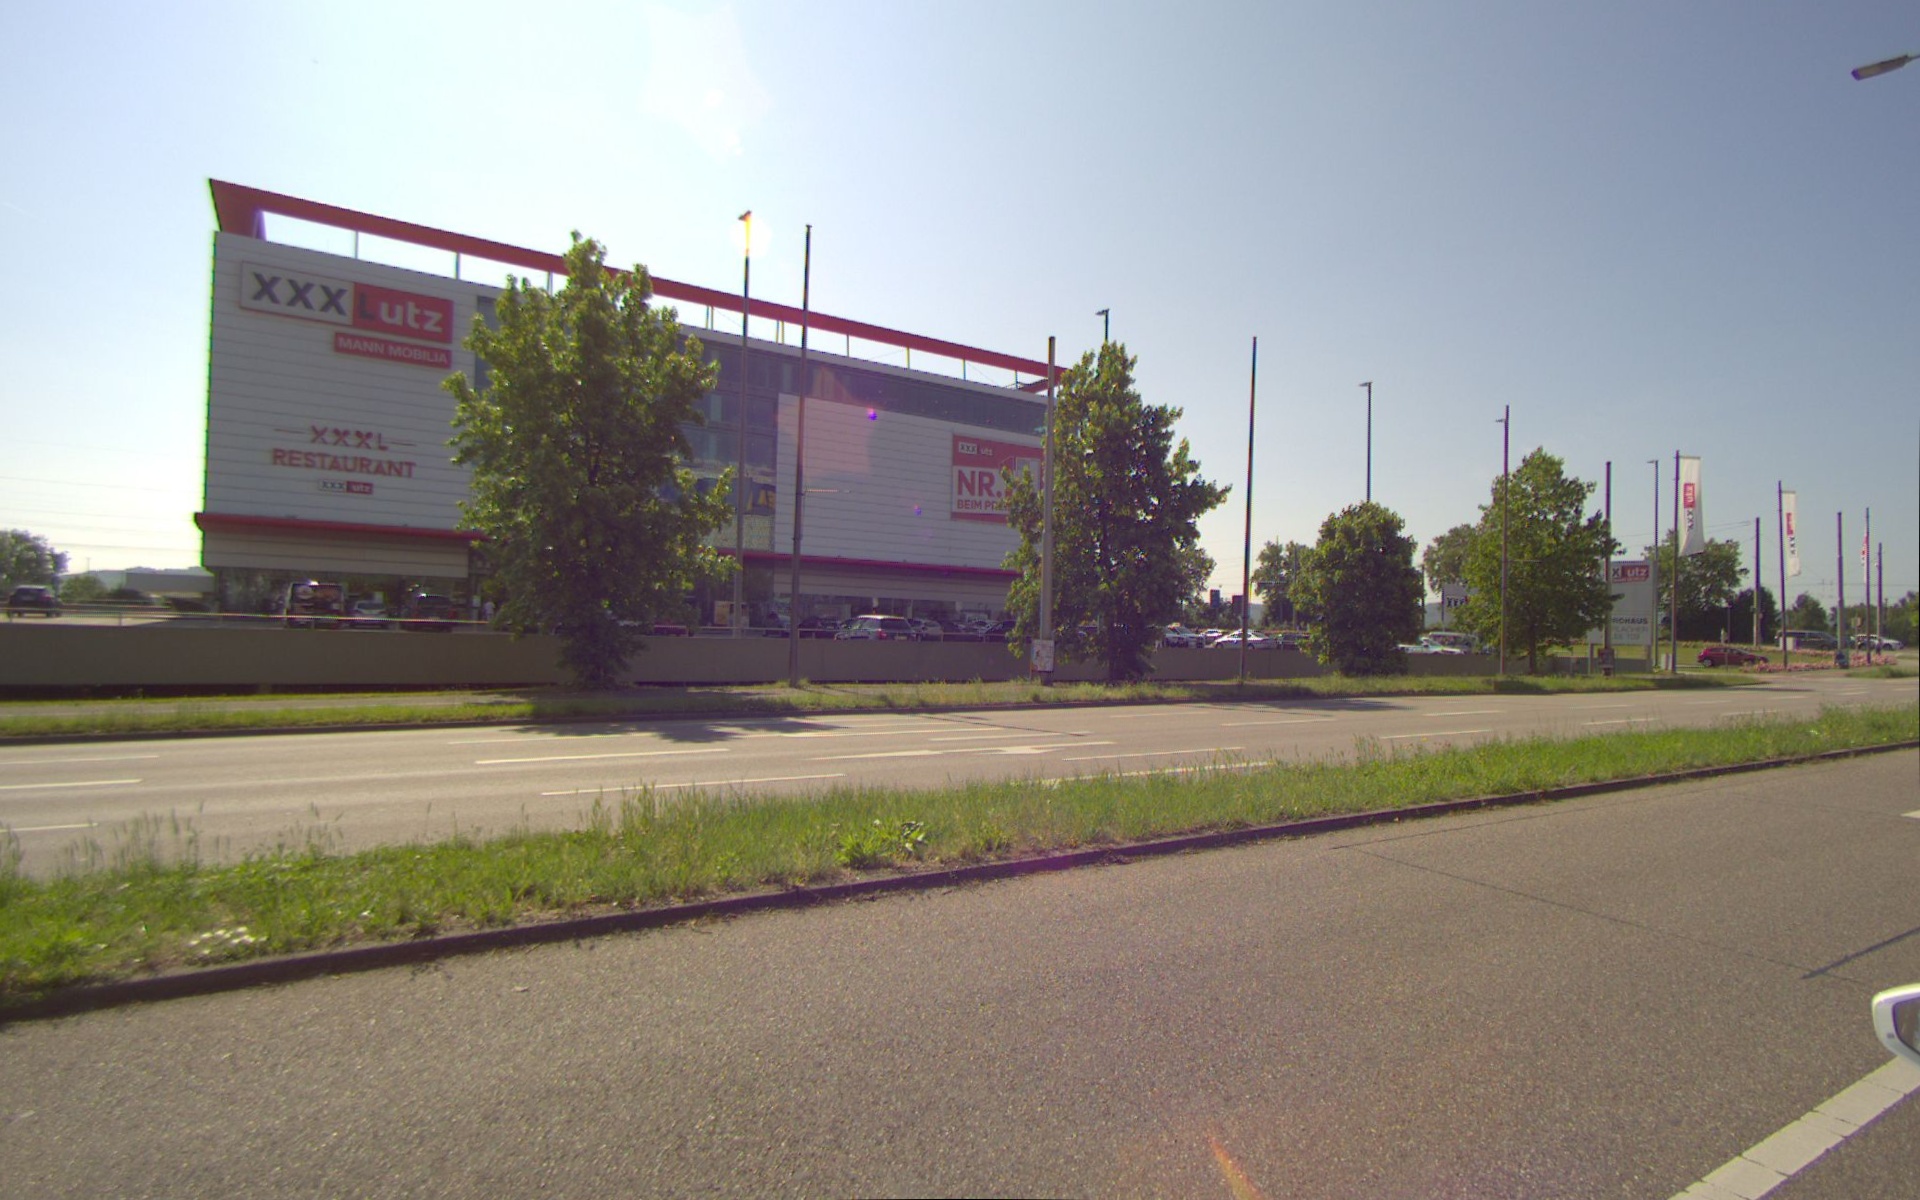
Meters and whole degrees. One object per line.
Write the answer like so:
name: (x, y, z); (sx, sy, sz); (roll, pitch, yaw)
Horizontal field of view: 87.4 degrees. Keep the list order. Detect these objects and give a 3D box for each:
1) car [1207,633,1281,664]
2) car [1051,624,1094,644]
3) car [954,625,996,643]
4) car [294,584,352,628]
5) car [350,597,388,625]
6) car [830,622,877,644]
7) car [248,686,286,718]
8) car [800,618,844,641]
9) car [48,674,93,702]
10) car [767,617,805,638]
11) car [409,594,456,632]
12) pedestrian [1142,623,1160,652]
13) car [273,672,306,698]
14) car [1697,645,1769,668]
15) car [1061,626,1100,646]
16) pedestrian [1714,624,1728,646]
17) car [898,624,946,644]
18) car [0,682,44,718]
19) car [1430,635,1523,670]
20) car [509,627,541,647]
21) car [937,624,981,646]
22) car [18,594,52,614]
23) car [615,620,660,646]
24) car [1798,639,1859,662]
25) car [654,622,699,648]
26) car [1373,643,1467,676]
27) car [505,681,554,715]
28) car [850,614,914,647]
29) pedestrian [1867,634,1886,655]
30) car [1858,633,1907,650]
car: (19.507, 3.295, 69.110); (2.011, 2.040, 4.637); (2, -2, -36)
car: (8.164, 2.479, 73.098); (1.500, 1.347, 3.068); (4, -3, -34)
car: (1.089, 2.525, 74.669); (1.590, 1.244, 3.068); (4, -3, -34)
car: (-24.203, 0.258, 38.154); (1.756, 1.577, 2.749); (2, -2, -34)
car: (-31.478, 0.601, 53.456); (1.500, 1.347, 3.068); (4, -3, -34)
car: (-6.872, 2.117, 64.588); (1.687, 1.347, 3.068); (4, -3, -34)
car: (-24.826, 3.647, 35.960); (1.061, 0.988, 1.924); (3, -2, -36)
car: (-8.600, 1.842, 62.468); (1.500, 1.347, 3.068); (4, -3, -34)
car: (-34.438, 3.402, 38.919); (1.061, 0.988, 1.924); (4, -3, -36)
car: (-11.581, 1.819, 66.653); (1.288, 1.347, 3.115); (3, -3, -34)
car: (-26.089, 0.651, 49.665); (1.675, 1.781, 3.068); (3, -3, -34)
pedestrian: (13.664, 2.688, 71.963); (1.006, 2.040, 0.860); (1, -2, -19)
car: (-28.675, 3.615, 42.965); (1.061, 0.988, 1.924); (4, -3, -36)
car: (60.091, 4.380, 78.121); (1.811, 1.626, 4.151); (4, -3, -38)
car: (9.756, 2.910, 81.682); (1.288, 1.579, 3.211); (2, -2, -38)
pedestrian: (71.120, 3.249, 93.900); (0.907, 1.998, 0.713); (3, -2, -29)
car: (-2.527, 2.224, 66.240); (1.466, 1.214, 3.477); (4, -3, -34)
car: (-30.257, 3.203, 32.305); (0.902, 0.988, 1.924); (3, -2, -36)
car: (29.611, 2.974, 57.708); (1.926, 1.866, 4.386); (3, -3, -34)
car: (-22.364, 1.912, 51.634); (1.061, 0.988, 1.924); (3, -4, -36)
car: (-0.092, 2.352, 67.486); (1.500, 1.347, 3.068); (4, -3, -34)
car: (-48.533, 0.204, 52.723); (1.061, 0.988, 1.924); (4, -3, -36)
car: (-17.793, 1.812, 55.309); (1.500, 1.347, 3.194); (4, -3, -34)
car: (80.203, 4.661, 92.863); (1.785, 1.951, 3.991); (1, 0, -12)
car: (-16.261, 1.993, 57.525); (1.500, 1.347, 3.194); (4, -3, -34)
car: (25.248, 3.249, 55.301); (1.853, 1.648, 4.383); (4, -3, -35)
car: (-14.318, 3.232, 33.406); (1.061, 0.988, 1.924); (4, -3, -36)
car: (-2.718, 1.045, 34.768); (1.061, 1.073, 2.496); (4, -3, -36)
pedestrian: (75.760, 3.704, 83.057); (0.892, 1.729, 0.838); (1, -2, -22)
car: (89.310, 4.053, 97.262); (1.397, 1.519, 3.319); (4, -3, -37)
